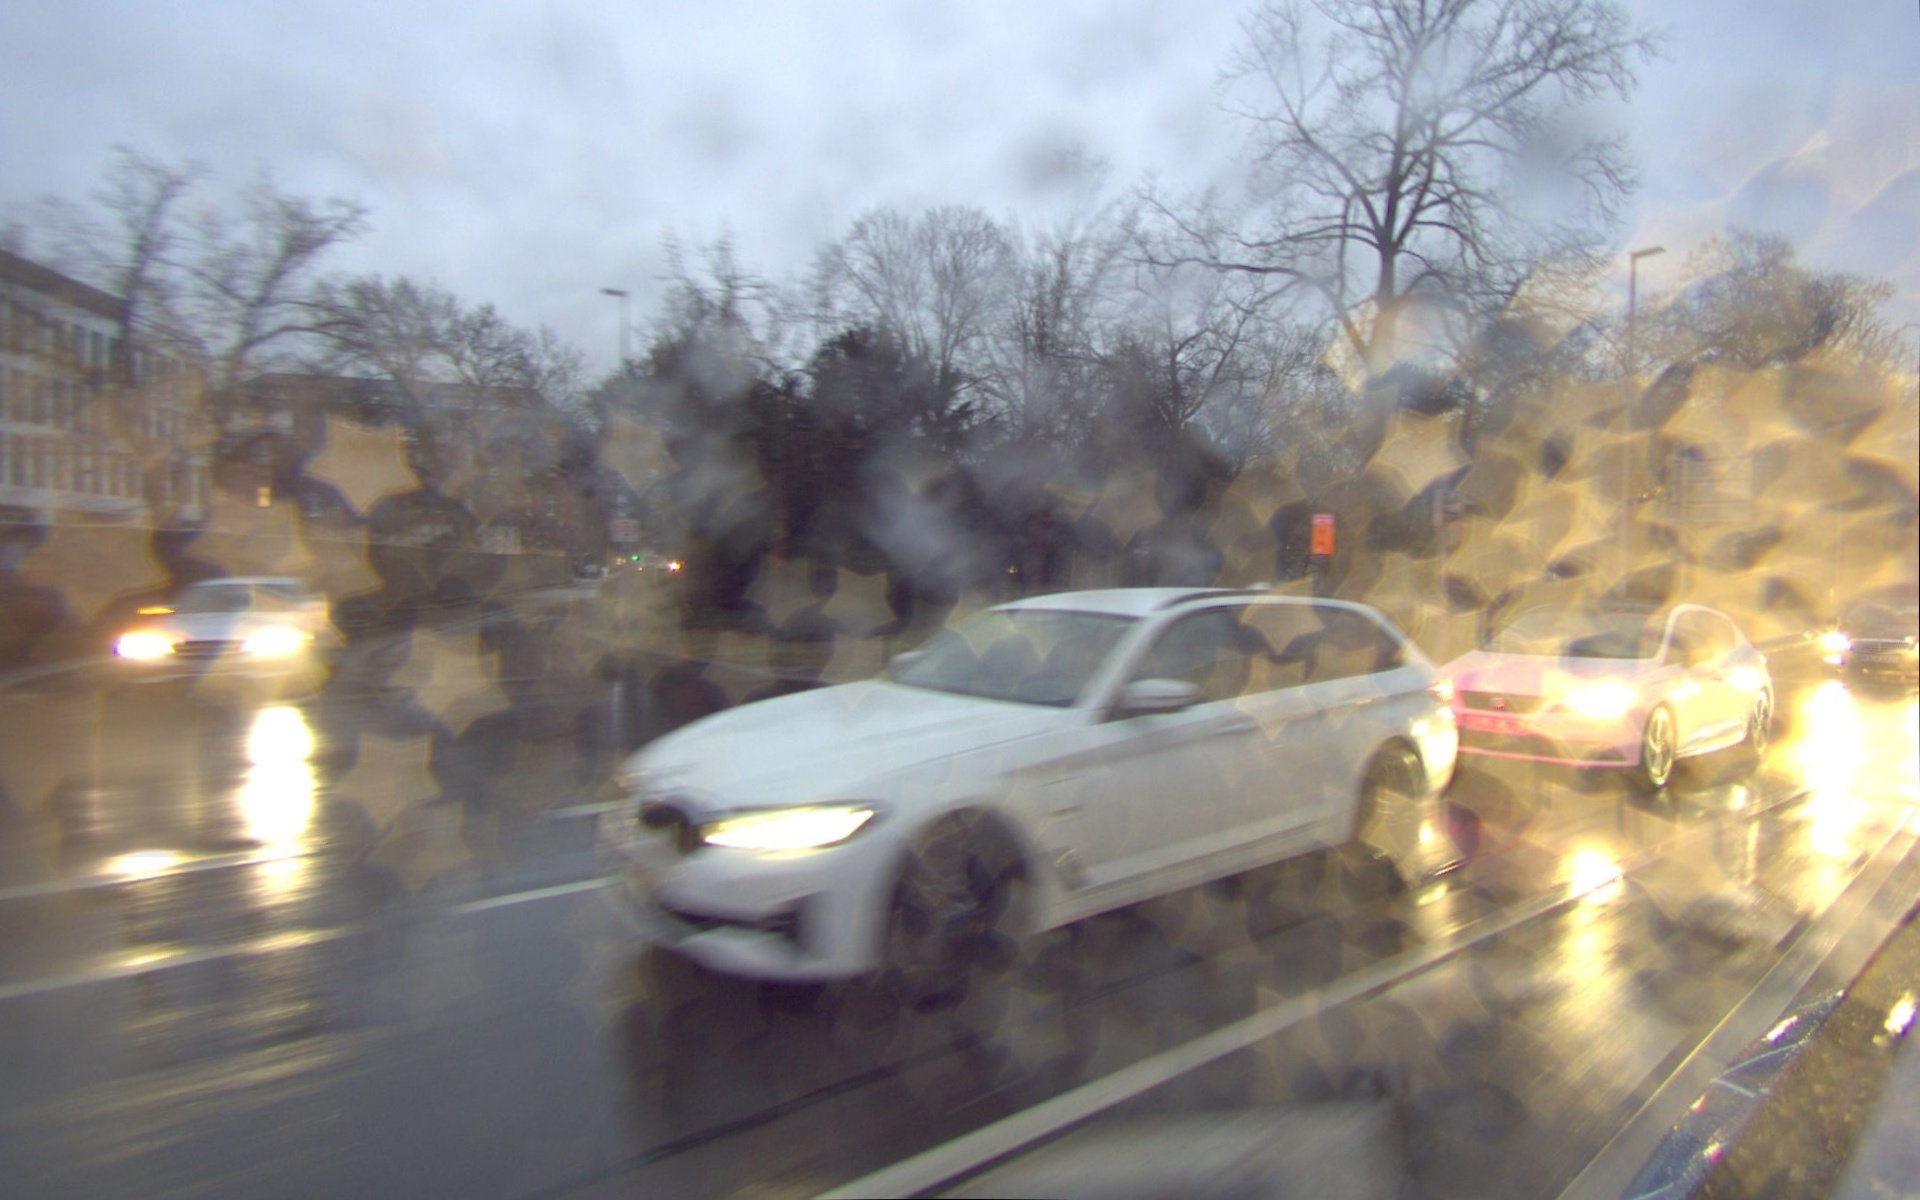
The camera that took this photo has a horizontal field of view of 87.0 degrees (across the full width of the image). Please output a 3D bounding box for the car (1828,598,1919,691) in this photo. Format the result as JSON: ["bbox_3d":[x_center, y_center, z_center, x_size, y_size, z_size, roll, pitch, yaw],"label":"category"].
[{"bbox_3d":[18.142,0.789,19.263,4.007,1.516,1.879,-2,2,-41],"label":"car"}]

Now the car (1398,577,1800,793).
[{"bbox_3d":[5.828,0.562,9.078,3.966,1.479,1.779,-1,2,-37],"label":"car"}]

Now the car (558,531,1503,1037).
[{"bbox_3d":[0.704,0.551,5.220,4.874,1.520,1.792,0,0,-36],"label":"car"}]

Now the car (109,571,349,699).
[{"bbox_3d":[-10.176,0.354,14.491,1.843,1.507,4.527,0,2,-23],"label":"car"}]
